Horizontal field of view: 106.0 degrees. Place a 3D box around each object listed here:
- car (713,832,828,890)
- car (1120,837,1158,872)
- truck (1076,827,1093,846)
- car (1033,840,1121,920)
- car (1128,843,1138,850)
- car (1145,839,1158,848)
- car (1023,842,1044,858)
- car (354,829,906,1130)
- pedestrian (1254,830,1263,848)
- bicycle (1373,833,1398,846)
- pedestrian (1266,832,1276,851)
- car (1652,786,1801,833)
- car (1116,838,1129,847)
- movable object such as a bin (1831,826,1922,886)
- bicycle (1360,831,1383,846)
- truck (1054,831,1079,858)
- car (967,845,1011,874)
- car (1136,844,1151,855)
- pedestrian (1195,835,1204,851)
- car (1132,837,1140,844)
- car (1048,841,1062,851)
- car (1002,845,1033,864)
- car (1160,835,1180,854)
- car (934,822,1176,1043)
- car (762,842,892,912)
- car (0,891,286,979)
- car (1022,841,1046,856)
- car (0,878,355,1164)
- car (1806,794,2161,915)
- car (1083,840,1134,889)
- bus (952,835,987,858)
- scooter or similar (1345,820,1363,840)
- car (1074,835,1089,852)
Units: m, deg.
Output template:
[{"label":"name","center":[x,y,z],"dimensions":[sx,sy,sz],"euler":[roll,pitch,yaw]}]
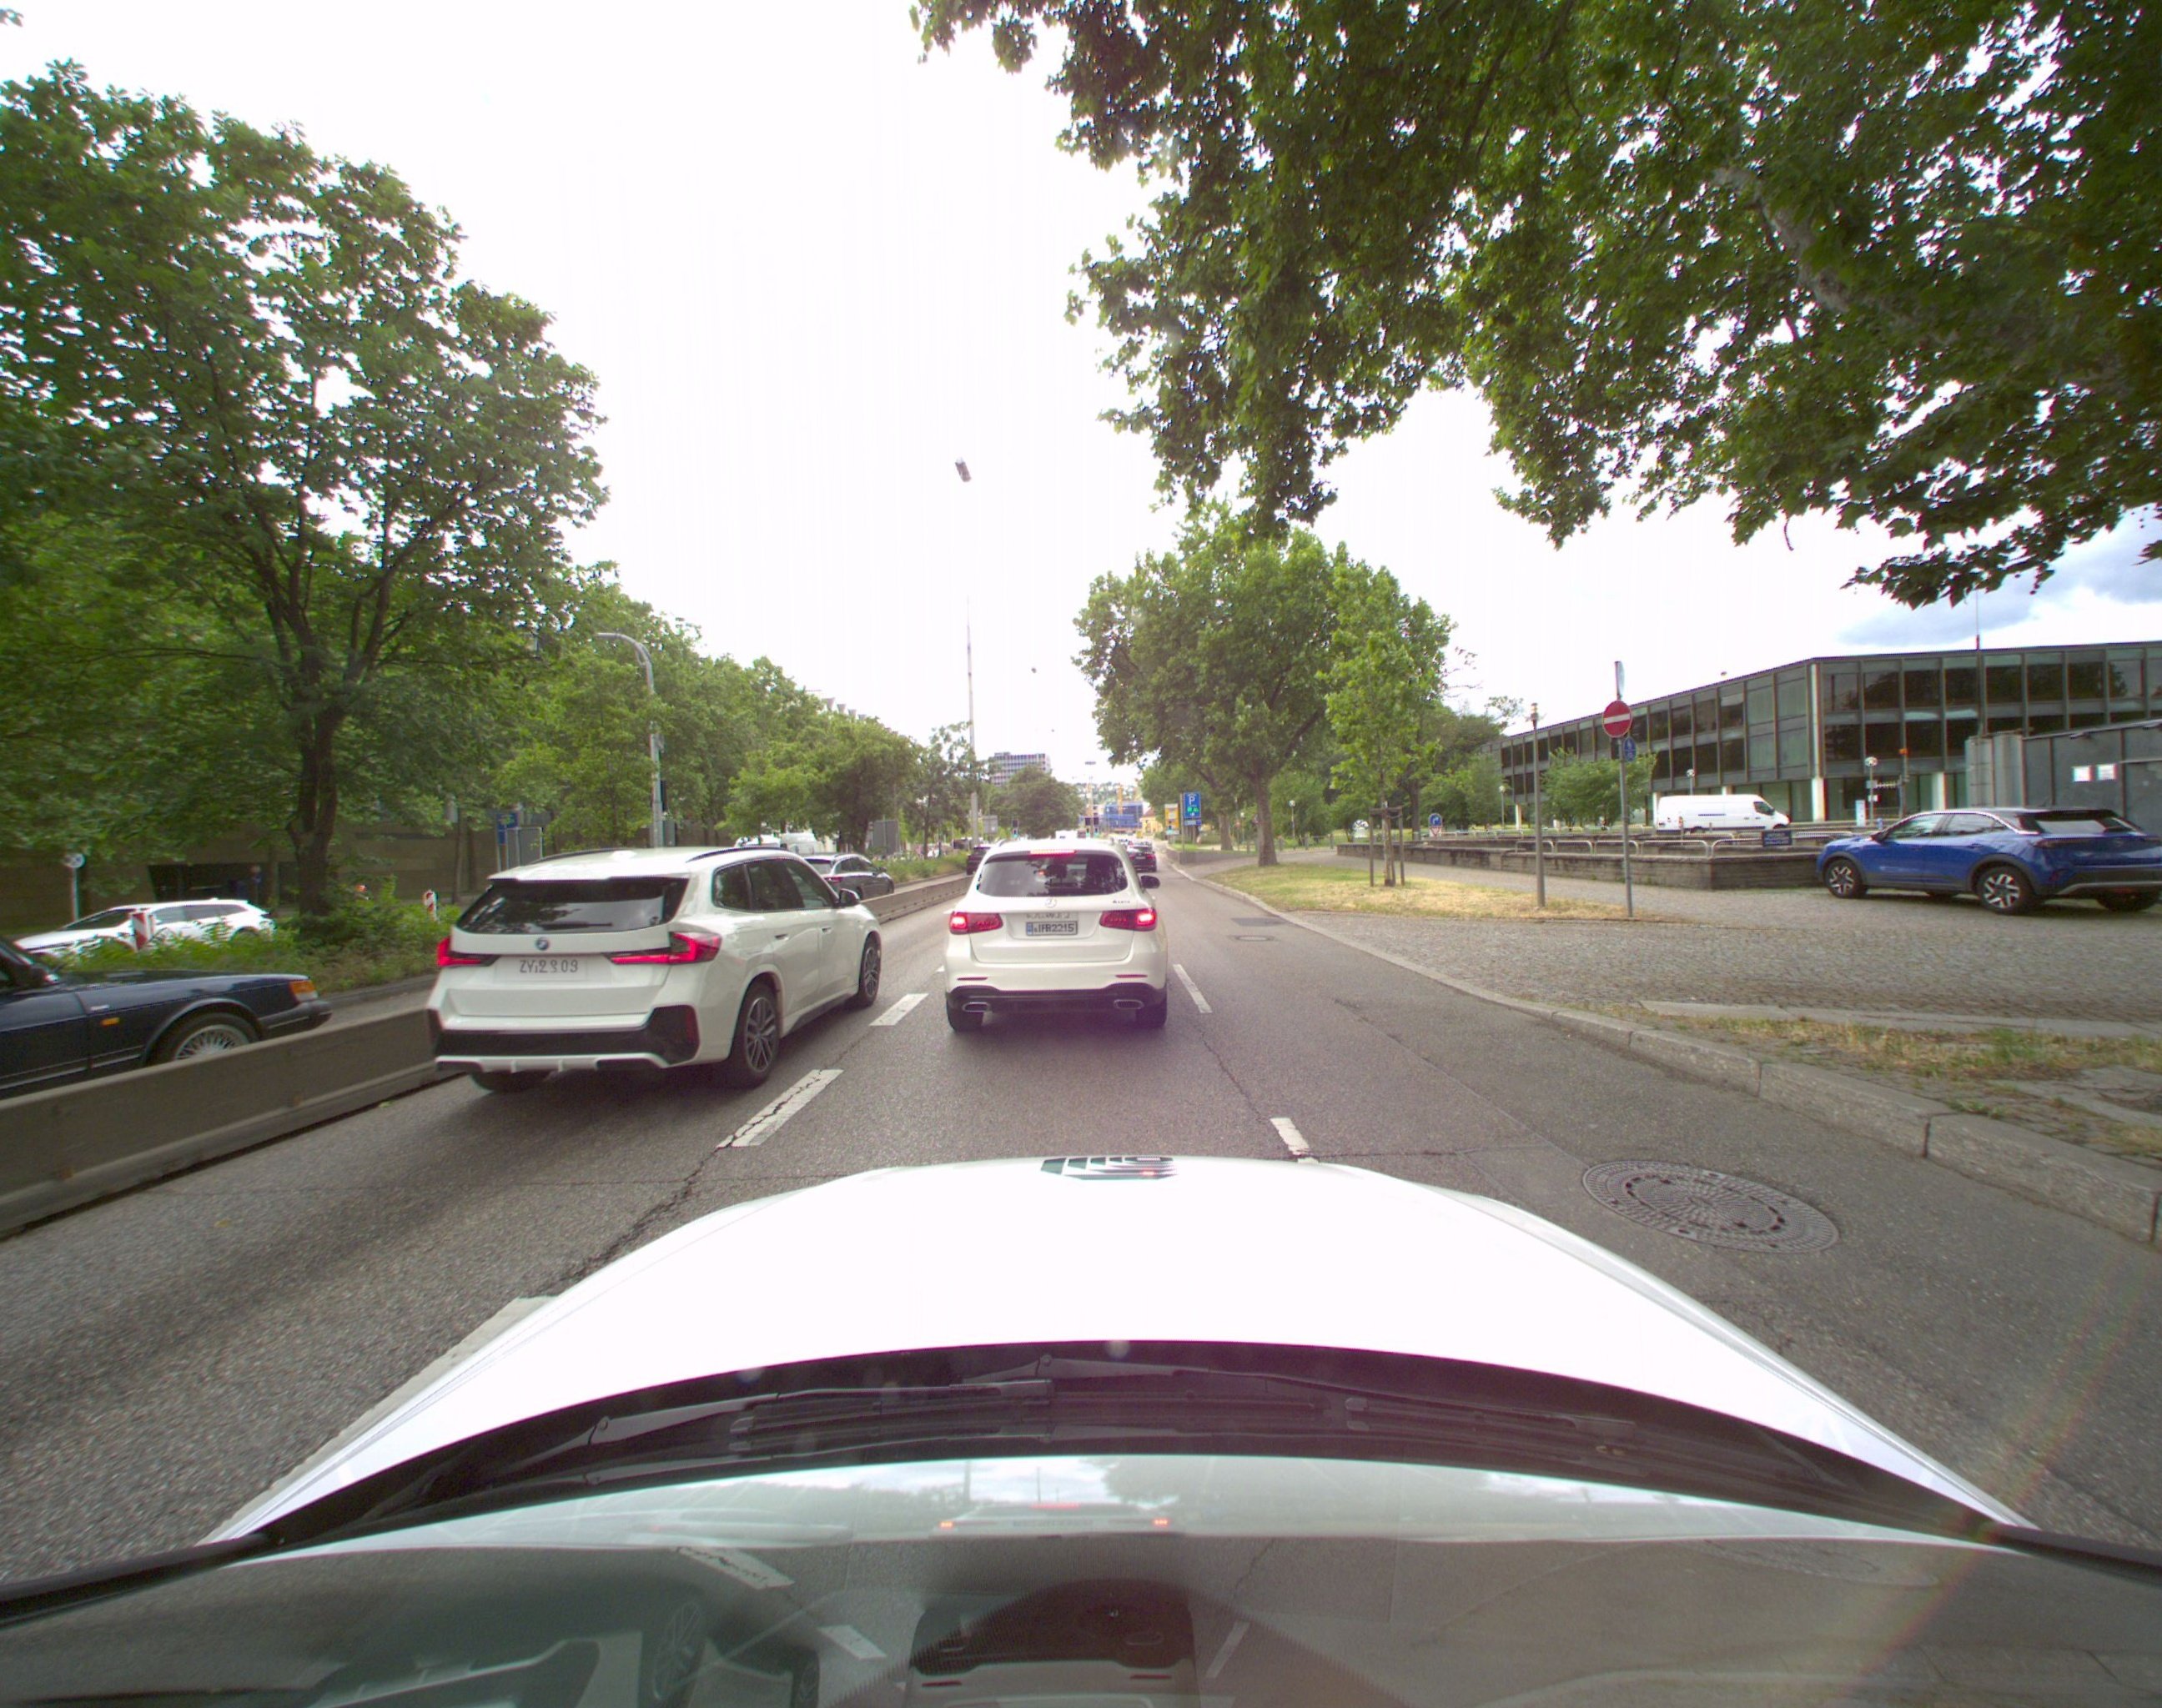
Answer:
[{"label":"car","center":[-11.905,0.206,31.779],"dimensions":[2.107,1.969,5.581],"euler":[-2,1,2]},{"label":"car","center":[3.115,-0.005,44.086],"dimensions":[1.818,1.752,4.001],"euler":[-2,1,1]},{"label":"truck","center":[0.645,-2.765,130.837],"dimensions":[2.682,2.991,5.639],"euler":[0,0,1]},{"label":"car","center":[-0.166,0.519,18.769],"dimensions":[1.792,1.608,3.751],"euler":[-1,0,-3]},{"label":"car","center":[10.301,-1.537,162.023],"dimensions":[1.939,1.319,4.020],"euler":[-1,0,3]},{"label":"car","center":[11.749,-1.716,135.633],"dimensions":[1.939,1.319,4.020],"euler":[-1,0,3]},{"label":"car","center":[-4.829,-0.444,83.142],"dimensions":[1.652,1.513,3.550],"euler":[-2,1,3]},{"label":"car","center":[-3.028,0.688,6.965],"dimensions":[1.844,1.628,4.908],"euler":[-1,0,1]},{"label":"pedestrian","center":[16.666,-1.415,76.398],"dimensions":[0.754,1.724,0.701],"euler":[-2,0,10]},{"label":"bicycle","center":[22.825,-1.076,61.111],"dimensions":[0.950,0.975,2.788],"euler":[0,0,1]},{"label":"pedestrian","center":[16.392,-1.088,70.201],"dimensions":[0.632,1.610,0.667],"euler":[-2,1,32]},{"label":"car","center":[35.117,-2.379,44.482],"dimensions":[6.081,2.260,2.404],"euler":[-2,0,3]},{"label":"car","center":[6.444,-1.786,125.910],"dimensions":[1.939,1.319,4.020],"euler":[-1,0,3]},{"label":"movable object such as a bin","center":[15.398,0.029,15.787],"dimensions":[1.004,1.064,0.770],"euler":[-2,3,-1]},{"label":"bicycle","center":[21.746,-1.165,61.021],"dimensions":[0.950,1.063,2.336],"euler":[0,0,1]},{"label":"truck","center":[-1.595,-1.070,92.983],"dimensions":[2.612,2.861,7.080],"euler":[-1,1,1]},{"label":"car","center":[-4.892,0.266,43.746],"dimensions":[1.769,1.420,4.002],"euler":[-2,1,2]},{"label":"car","center":[8.591,-0.676,112.875],"dimensions":[1.939,1.428,4.020],"euler":[-1,0,3]},{"label":"pedestrian","center":[15.273,-1.443,104.900],"dimensions":[0.752,2.013,0.703],"euler":[-2,1,38]},{"label":"car","center":[13.543,-3.383,200.625],"dimensions":[1.752,1.669,4.170],"euler":[-2,1,2]},{"label":"car","center":[-3.722,-1.138,115.254],"dimensions":[1.652,1.319,3.550],"euler":[-1,0,3]},{"label":"car","center":[-4.669,0.042,60.248],"dimensions":[1.651,1.319,3.552],"euler":[-1,0,5]},{"label":"car","center":[10.187,-1.083,93.595],"dimensions":[1.985,2.013,4.003],"euler":[-1,0,3]},{"label":"car","center":[-0.150,0.586,8.348],"dimensions":[1.782,1.625,4.438],"euler":[-1,0,1]},{"label":"car","center":[-5.745,0.473,18.921],"dimensions":[1.655,1.436,3.961],"euler":[-1,0,1]},{"label":"car","center":[-22.074,1.806,19.409],"dimensions":[1.639,1.526,4.525],"euler":[-2,1,2]},{"label":"car","center":[-4.274,-0.487,74.610],"dimensions":[1.651,1.319,3.552],"euler":[-1,0,5]},{"label":"car","center":[-6.351,0.929,3.825],"dimensions":[1.672,1.366,4.545],"euler":[-2,1,1]},{"label":"car","center":[13.908,-0.092,12.750],"dimensions":[1.752,1.551,4.032],"euler":[-2,3,4]},{"label":"car","center":[0.943,0.339,29.758],"dimensions":[1.654,1.639,3.546],"euler":[-1,0,-1]},{"label":"bus","center":[-16.955,-1.170,125.178],"dimensions":[3.657,3.205,14.266],"euler":[-2,1,-1]},{"label":"scooter or similar","center":[18.254,-1.612,54.558],"dimensions":[0.633,1.245,2.228],"euler":[0,0,4]},{"label":"car","center":[0.114,-1.549,123.645],"dimensions":[1.985,2.475,4.003],"euler":[-2,1,3]}]
